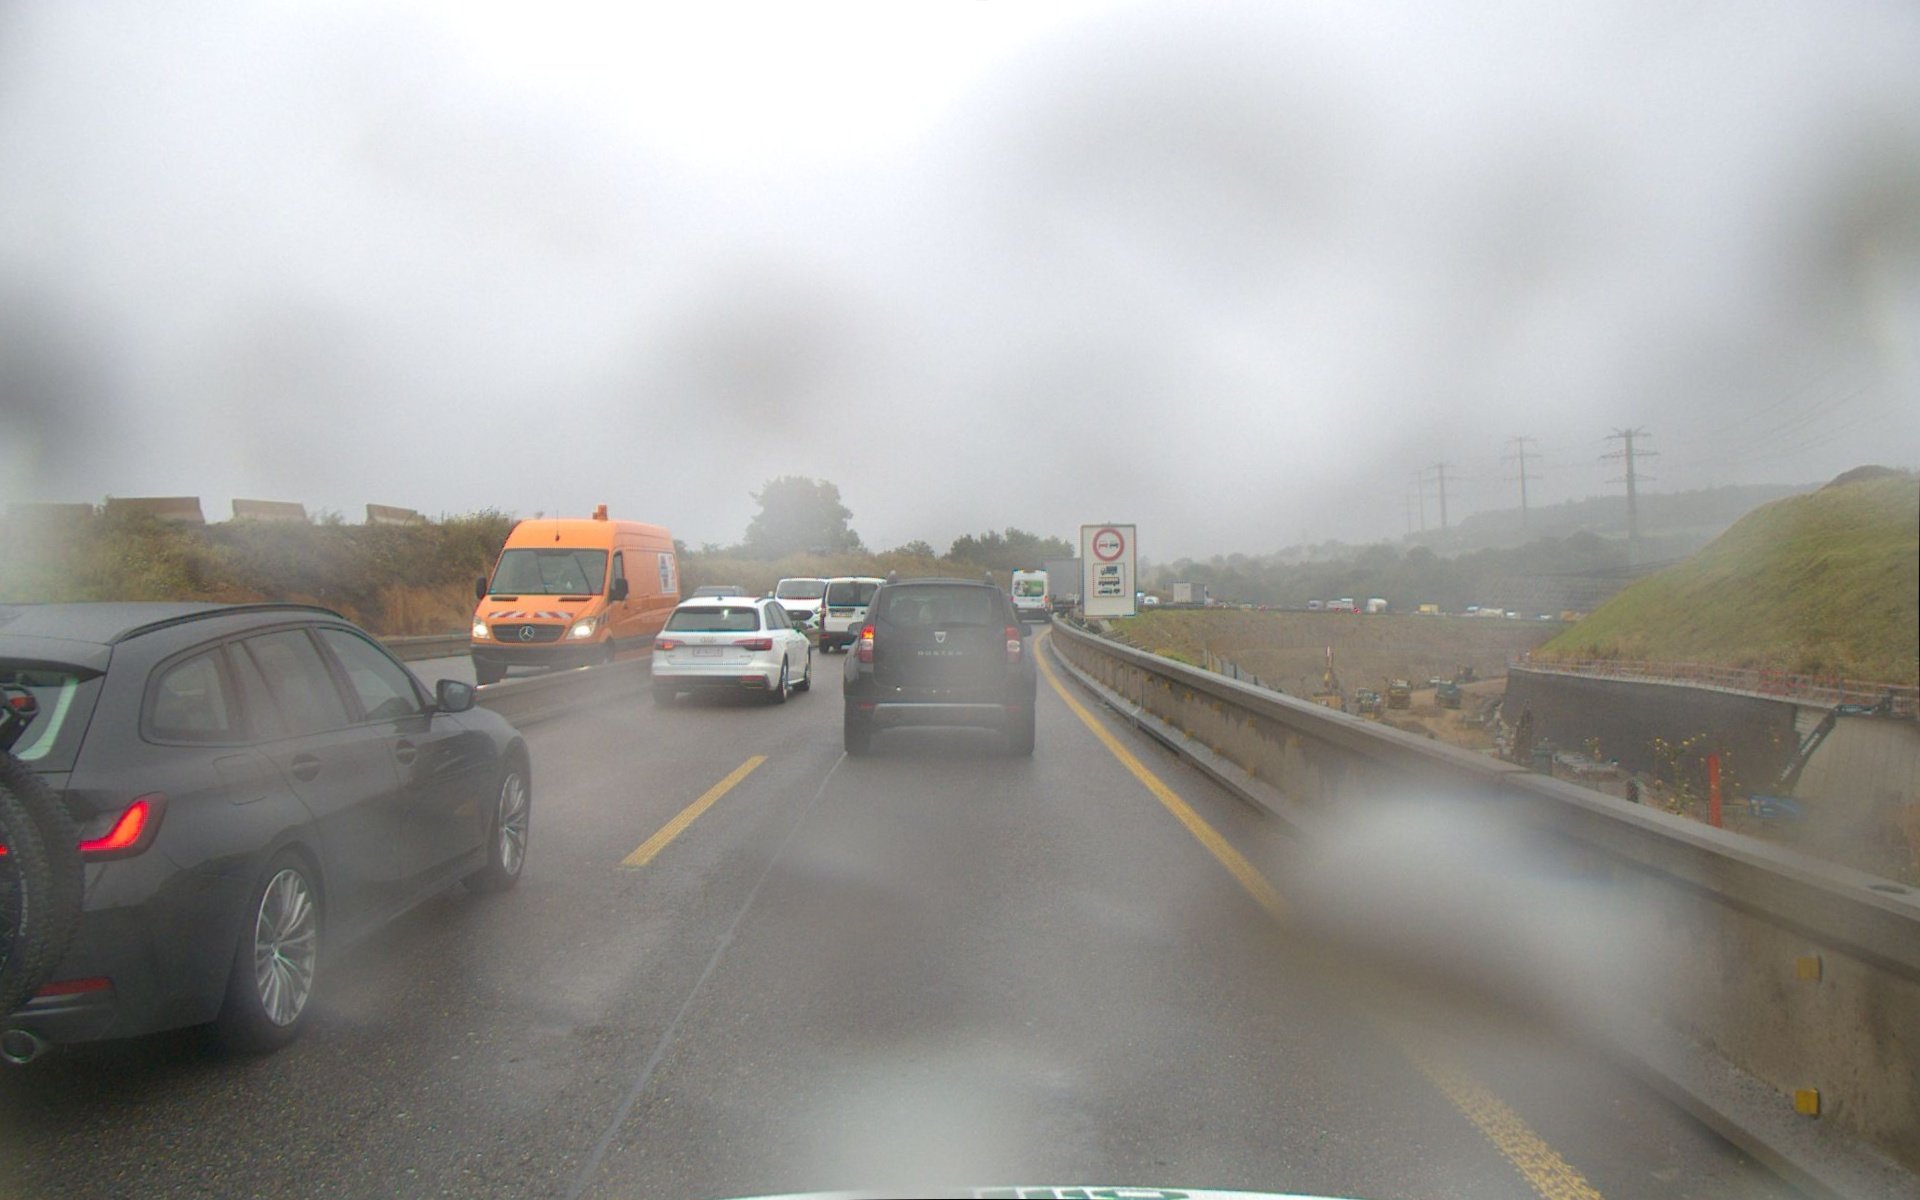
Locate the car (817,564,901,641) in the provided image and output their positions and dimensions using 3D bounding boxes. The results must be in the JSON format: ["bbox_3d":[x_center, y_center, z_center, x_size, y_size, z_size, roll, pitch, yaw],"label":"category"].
[{"bbox_3d":[-2.495,0.072,41.838,1.788,1.847,4.000,0,-1,1],"label":"car"}]

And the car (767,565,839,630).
[{"bbox_3d":[-5.142,-0.119,54.754,1.953,2.034,4.969,1,1,-1],"label":"car"}]

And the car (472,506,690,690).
[{"bbox_3d":[-6.004,-0.069,27.180,2.012,2.622,7.020,1,1,-1],"label":"car"}]

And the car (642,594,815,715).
[{"bbox_3d":[-3.126,0.705,23.073,1.789,1.525,4.000,1,-1,1],"label":"car"}]

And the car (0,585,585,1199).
[{"bbox_3d":[-2.938,0.750,6.401,1.699,1.488,5.630,0,2,0],"label":"car"}]

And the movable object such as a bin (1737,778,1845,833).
[{"bbox_3d":[36.152,8.911,72.022,1.979,2.049,3.790,4,-4,-37],"label":"movable object such as a bin"}]

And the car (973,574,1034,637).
[{"bbox_3d":[1.363,0.181,50.756,1.788,1.847,4.001,0,-1,2],"label":"car"}]

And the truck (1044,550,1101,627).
[{"bbox_3d":[8.077,-0.747,117.393,3.468,5.166,10.448,0,-1,7],"label":"truck"}]

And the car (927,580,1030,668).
[{"bbox_3d":[0.346,0.431,30.833,1.789,1.525,4.000,1,-1,1],"label":"car"}]

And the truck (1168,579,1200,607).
[{"bbox_3d":[31.490,-1.051,232.007,3.398,3.780,8.424,-1,1,15],"label":"truck"}]

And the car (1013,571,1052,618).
[{"bbox_3d":[3.943,-0.290,89.265,1.787,2.480,4.161,0,-1,7],"label":"car"}]

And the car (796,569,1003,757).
[{"bbox_3d":[-0.499,0.561,16.389,1.789,1.619,4.000,1,-1,1],"label":"car"}]
